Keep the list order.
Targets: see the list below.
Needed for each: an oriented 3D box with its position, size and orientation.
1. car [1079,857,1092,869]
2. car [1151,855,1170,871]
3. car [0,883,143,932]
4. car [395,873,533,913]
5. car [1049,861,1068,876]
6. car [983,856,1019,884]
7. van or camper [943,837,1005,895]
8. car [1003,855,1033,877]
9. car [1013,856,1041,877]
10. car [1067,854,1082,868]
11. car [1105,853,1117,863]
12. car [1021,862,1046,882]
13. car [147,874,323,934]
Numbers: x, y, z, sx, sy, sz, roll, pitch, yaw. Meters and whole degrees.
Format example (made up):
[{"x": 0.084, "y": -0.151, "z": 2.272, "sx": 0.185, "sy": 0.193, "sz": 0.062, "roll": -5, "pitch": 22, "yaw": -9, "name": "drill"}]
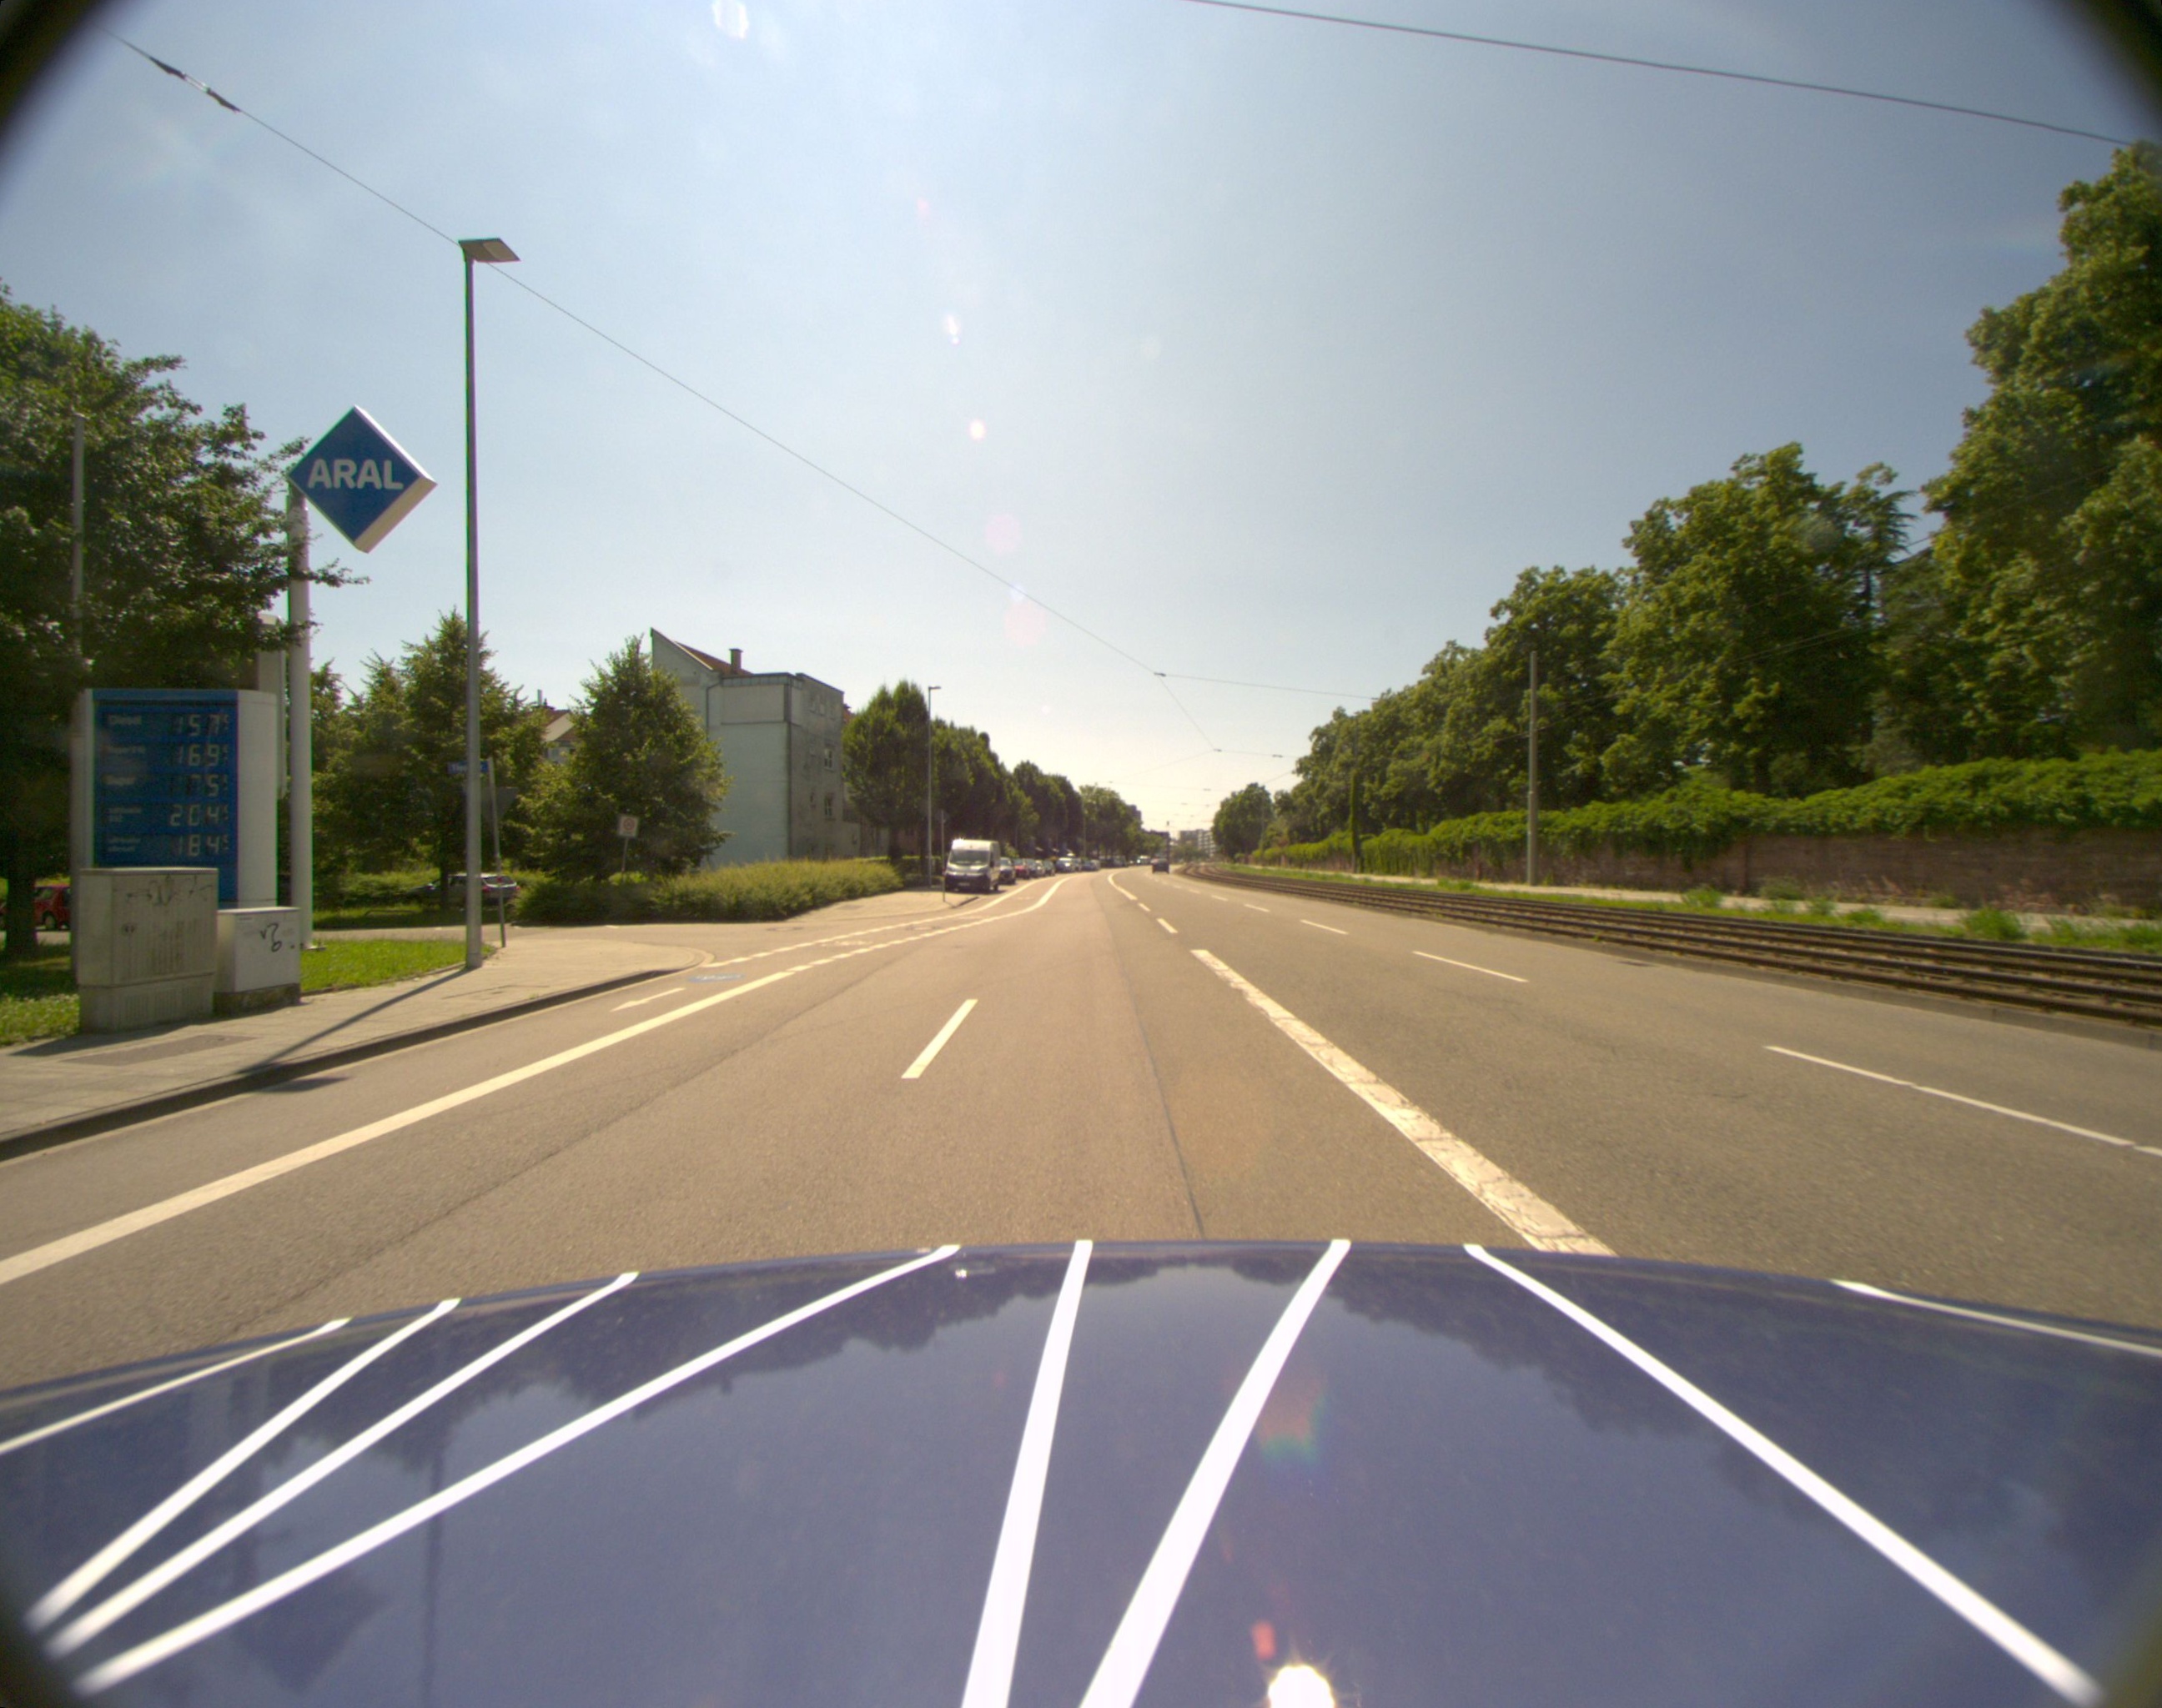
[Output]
[{"x": 0.650, "y": 1.230, "z": 105.353, "sx": 1.807, "sy": 1.584, "sz": 4.000, "roll": -1, "pitch": 0, "yaw": 1, "name": "car"}, {"x": 7.914, "y": 0.876, "z": 76.141, "sx": 1.695, "sy": 1.460, "sz": 4.001, "roll": -1, "pitch": 0, "yaw": 4, "name": "car"}, {"x": -33.721, "y": 1.723, "z": 25.243, "sx": 3.992, "sy": 1.479, "sz": 1.847, "roll": -1, "pitch": 0, "yaw": 17, "name": "car"}, {"x": -24.975, "y": 1.561, "z": 30.834, "sx": 4.221, "sy": 1.512, "sz": 2.001, "roll": -1, "pitch": 0, "yaw": 8, "name": "car"}, {"x": -2.501, "y": 1.654, "z": 85.339, "sx": 1.725, "sy": 1.586, "sz": 4.001, "roll": -1, "pitch": 0, "yaw": 3, "name": "car"}, {"x": -4.861, "y": 0.941, "z": 46.549, "sx": 1.827, "sy": 1.624, "sz": 3.999, "roll": 1, "pitch": 0, "yaw": -2, "name": "car"}, {"x": -5.052, "y": 0.527, "z": 36.690, "sx": 2.126, "sy": 2.469, "sz": 5.993, "roll": 2, "pitch": 0, "yaw": -1, "name": "van or camper"}, {"x": -4.661, "y": 0.879, "z": 56.851, "sx": 1.813, "sy": 1.543, "sz": 4.000, "roll": -1, "pitch": 0, "yaw": 2, "name": "car"}, {"x": -4.426, "y": 0.972, "z": 62.738, "sx": 1.998, "sy": 1.652, "sz": 4.000, "roll": -1, "pitch": 0, "yaw": 1, "name": "car"}, {"x": -0.819, "y": 0.900, "z": 97.229, "sx": 1.907, "sy": 1.707, "sz": 4.000, "roll": -1, "pitch": 0, "yaw": 1, "name": "car"}, {"x": 5.421, "y": 0.746, "z": 136.313, "sx": 1.998, "sy": 1.718, "sz": 4.000, "roll": -1, "pitch": 0, "yaw": 1, "name": "car"}, {"x": -4.168, "y": 1.599, "z": 67.473, "sx": 1.906, "sy": 1.652, "sz": 4.000, "roll": -1, "pitch": 0, "yaw": 1, "name": "car"}, {"x": -25.953, "y": 1.495, "z": 23.346, "sx": 3.992, "sy": 1.677, "sz": 2.002, "roll": -1, "pitch": 0, "yaw": 15, "name": "car"}]
